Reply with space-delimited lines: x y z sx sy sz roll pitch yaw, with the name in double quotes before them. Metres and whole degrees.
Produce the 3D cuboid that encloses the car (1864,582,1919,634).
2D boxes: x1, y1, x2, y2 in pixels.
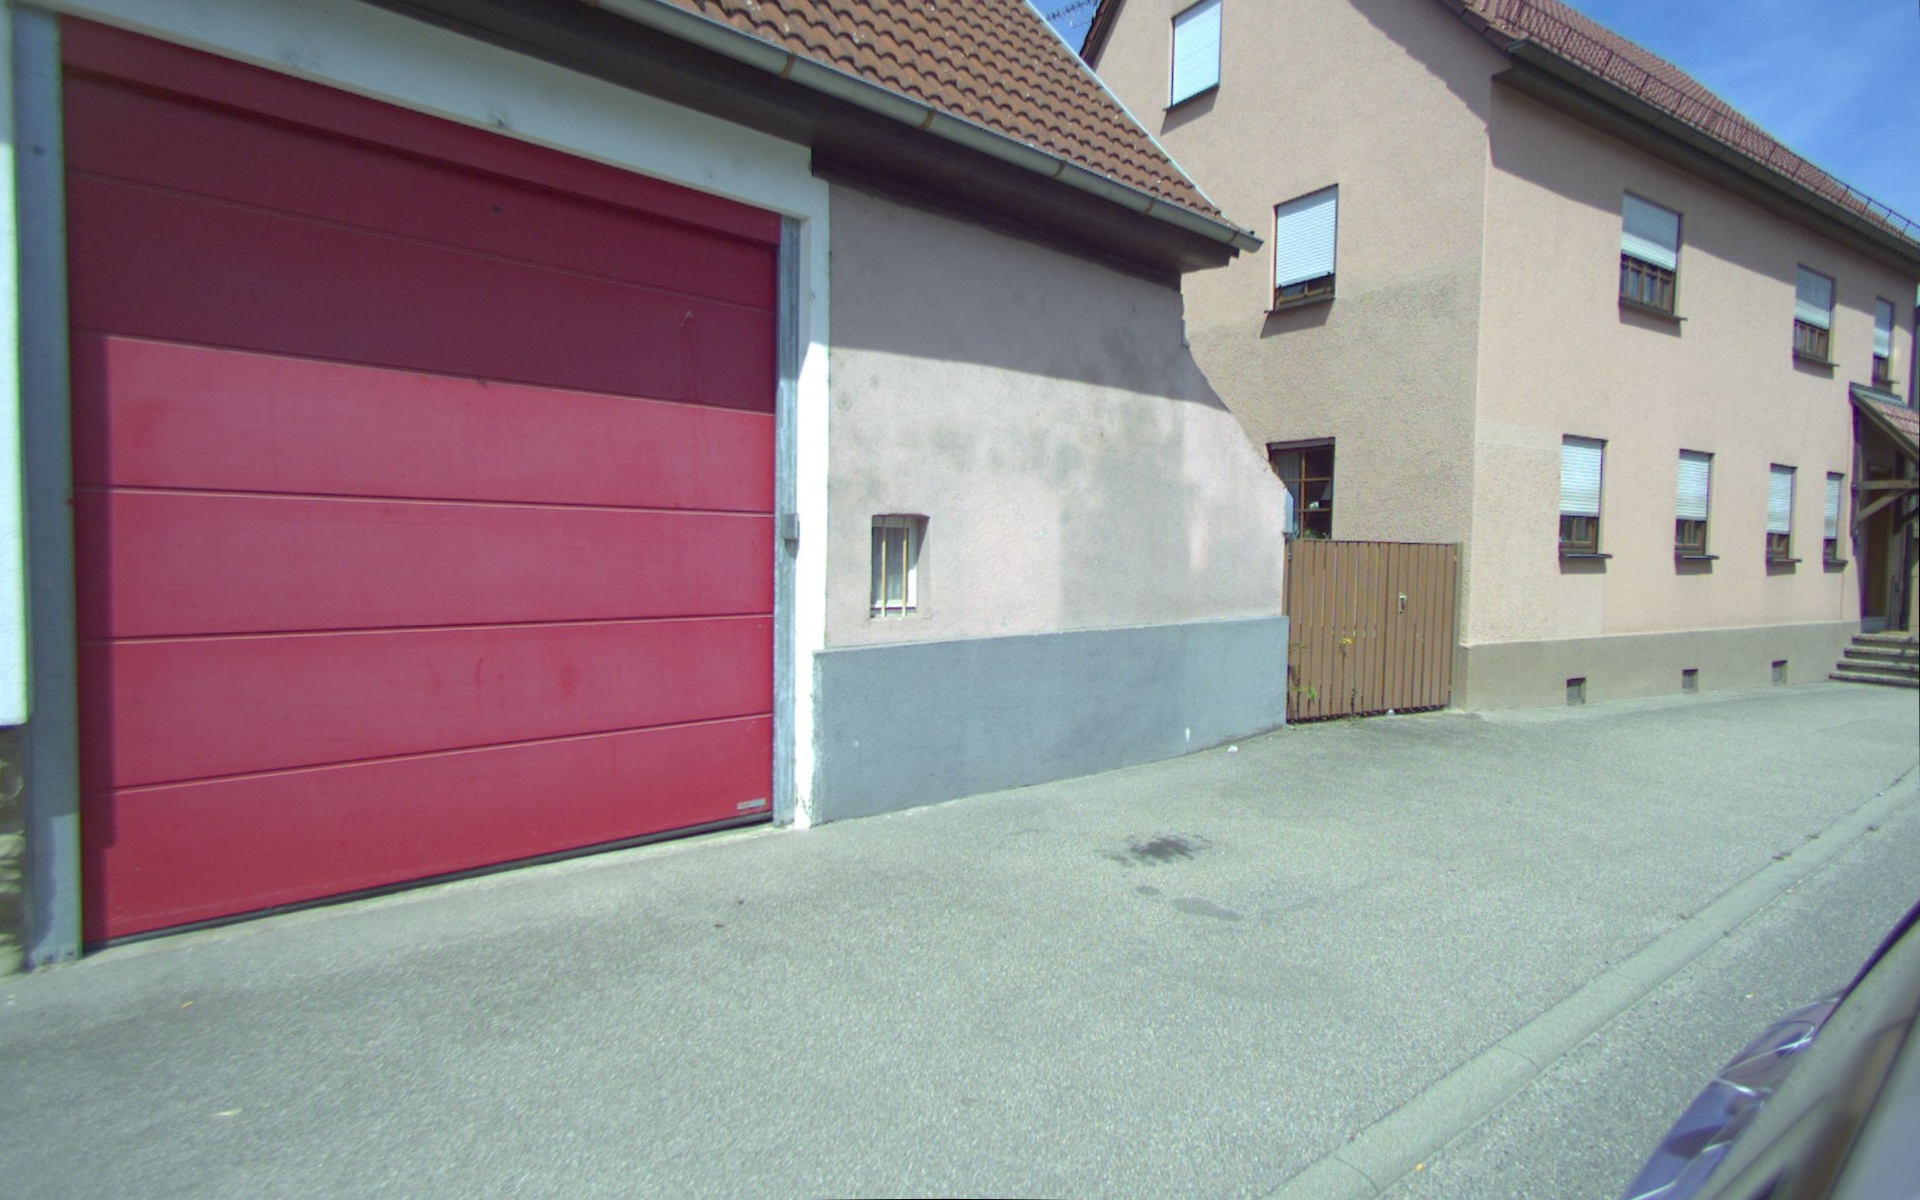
"car" 30.290 0.285 30.888 1.857 1.506 3.811 -1 3 -41
